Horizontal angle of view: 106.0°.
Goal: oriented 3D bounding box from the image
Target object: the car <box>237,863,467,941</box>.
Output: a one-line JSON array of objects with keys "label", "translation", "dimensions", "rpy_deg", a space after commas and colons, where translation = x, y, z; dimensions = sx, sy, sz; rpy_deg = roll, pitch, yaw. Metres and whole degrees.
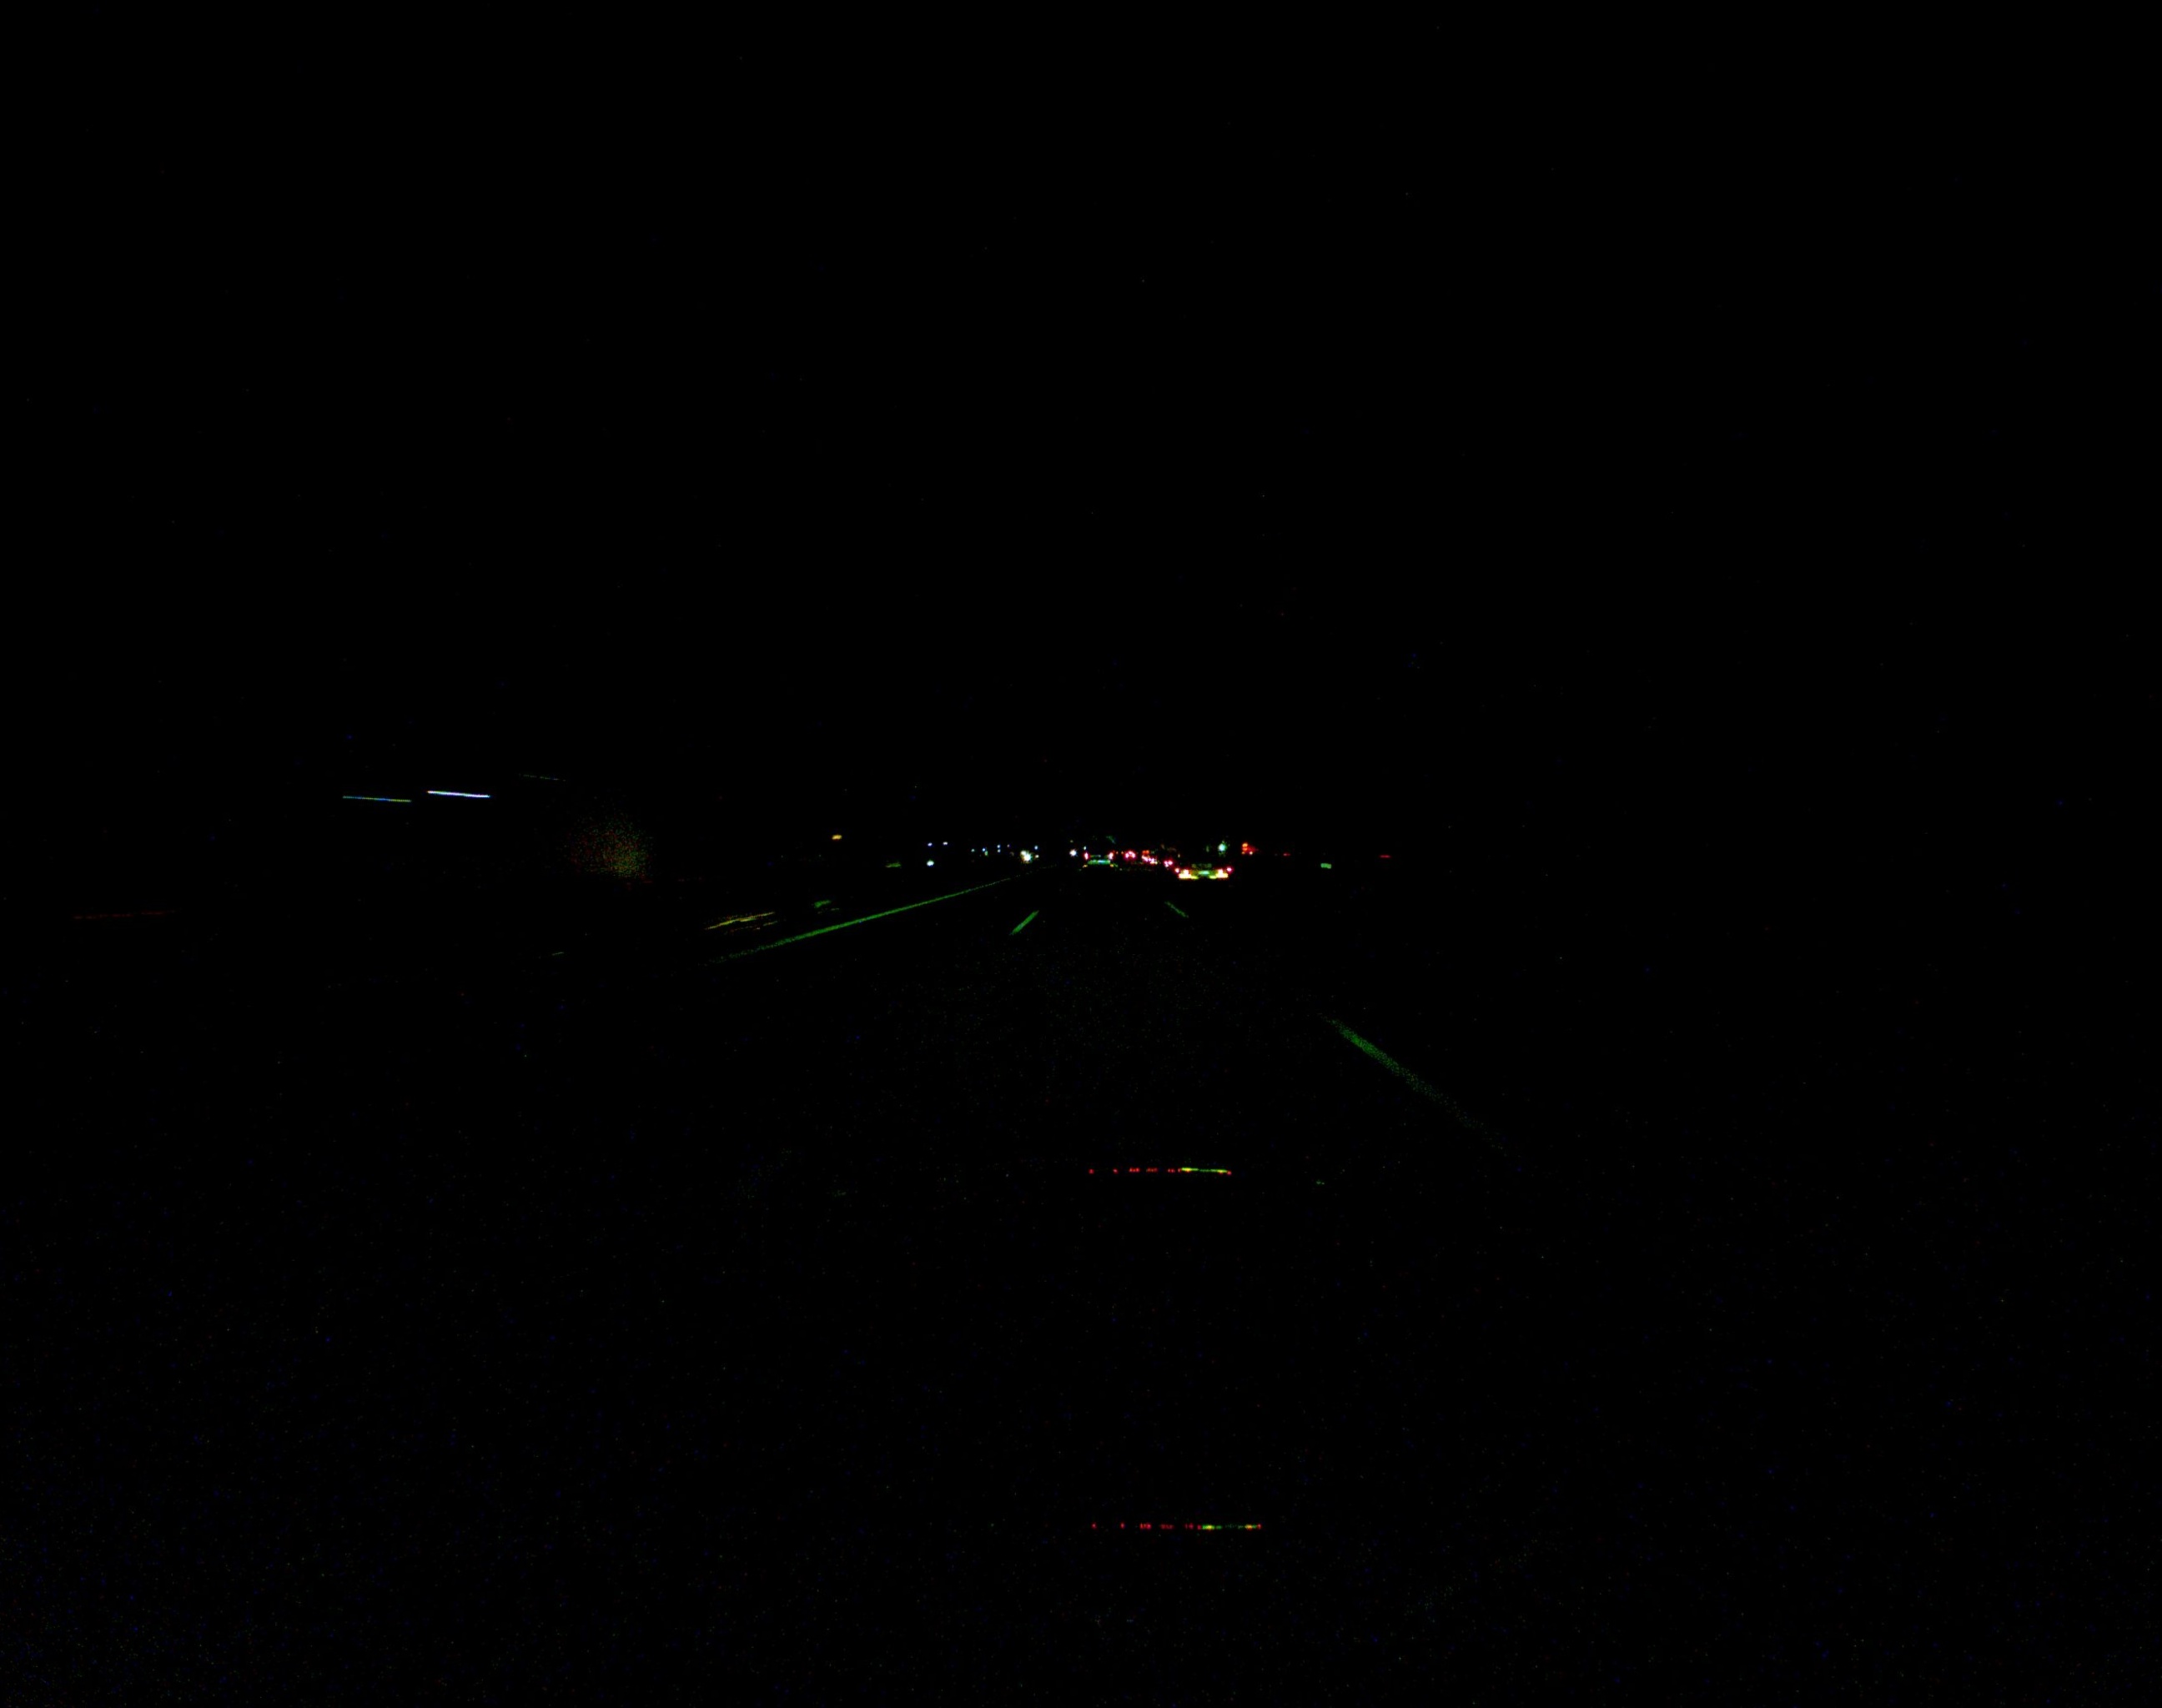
[{"label": "car", "translation": [-18.926, 1.175, 21.499], "dimensions": [1.987, 1.823, 4.499], "rpy_deg": [0, -1, 0]}]

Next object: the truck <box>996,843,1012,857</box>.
[{"label": "truck", "translation": [-19.169, -0.983, 203.351], "dimensions": [3.157, 3.222, 7.451], "rpy_deg": [0, -1, 2]}]

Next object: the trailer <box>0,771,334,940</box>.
[{"label": "trailer", "translation": [-23.411, 0.055, 17.023], "dimensions": [2.949, 3.442, 13.440], "rpy_deg": [-1, 0, 1]}]

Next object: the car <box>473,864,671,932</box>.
[{"label": "car", "translation": [-11.416, 0.928, 18.649], "dimensions": [1.987, 1.359, 3.999], "rpy_deg": [0, -1, 0]}]

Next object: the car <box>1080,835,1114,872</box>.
[{"label": "car", "translation": [1.158, 0.004, 61.687], "dimensions": [2.330, 2.640, 5.244], "rpy_deg": [-2, -1, -1]}]

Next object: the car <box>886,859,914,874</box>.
[{"label": "car", "translation": [-21.037, 1.448, 94.963], "dimensions": [1.987, 1.684, 5.324], "rpy_deg": [0, -1, 1]}]

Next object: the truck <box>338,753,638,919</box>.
[{"label": "truck", "translation": [-15.031, -0.352, 21.525], "dimensions": [2.864, 3.674, 6.780], "rpy_deg": [0, -1, 1]}]

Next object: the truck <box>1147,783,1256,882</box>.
[{"label": "truck", "translation": [6.516, -1.029, 48.739], "dimensions": [3.901, 4.627, 21.025], "rpy_deg": [0, 0, 1]}]

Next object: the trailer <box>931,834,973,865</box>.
[{"label": "trailer", "translation": [-17.234, -0.449, 110.196], "dimensions": [2.875, 3.849, 15.071], "rpy_deg": [0, -1, 1]}]

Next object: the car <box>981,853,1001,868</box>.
[{"label": "car", "translation": [-12.929, 0.952, 117.262], "dimensions": [1.986, 2.014, 5.327], "rpy_deg": [0, -1, 2]}]

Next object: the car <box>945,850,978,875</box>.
[{"label": "car", "translation": [-10.083, 0.698, 68.839], "dimensions": [1.987, 2.014, 5.323], "rpy_deg": [0, -1, 0]}]

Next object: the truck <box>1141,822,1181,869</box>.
[{"label": "truck", "translation": [8.359, -0.898, 86.880], "dimensions": [3.331, 4.476, 13.916], "rpy_deg": [-1, 0, 2]}]

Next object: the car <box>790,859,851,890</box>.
[{"label": "car", "translation": [-14.642, 1.129, 45.977], "dimensions": [1.987, 1.686, 4.506], "rpy_deg": [0, -1, 0]}]

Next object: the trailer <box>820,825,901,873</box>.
[{"label": "trailer", "translation": [-18.219, -0.293, 68.462], "dimensions": [2.875, 3.671, 13.051], "rpy_deg": [0, -1, 1]}]

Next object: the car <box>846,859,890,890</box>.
[{"label": "car", "translation": [-14.647, 1.393, 56.261], "dimensions": [1.987, 2.014, 4.000], "rpy_deg": [0, -1, 0]}]

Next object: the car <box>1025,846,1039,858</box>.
[{"label": "car", "translation": [-8.466, -0.407, 141.012], "dimensions": [1.987, 2.014, 4.000], "rpy_deg": [0, -1, 1]}]

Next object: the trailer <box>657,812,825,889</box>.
[{"label": "trailer", "translation": [-18.770, -0.226, 46.854], "dimensions": [2.875, 3.671, 15.243], "rpy_deg": [-1, 0, 1]}]

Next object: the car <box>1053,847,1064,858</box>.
[{"label": "car", "translation": [-4.244, -0.188, 153.239], "dimensions": [1.987, 2.014, 3.999], "rpy_deg": [0, -1, 0]}]

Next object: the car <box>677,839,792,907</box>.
[{"label": "car", "translation": [-10.972, 0.592, 26.117], "dimensions": [1.987, 2.014, 3.998], "rpy_deg": [0, -1, -1]}]

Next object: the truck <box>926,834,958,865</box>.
[{"label": "truck", "translation": [-17.480, -0.491, 102.869], "dimensions": [2.849, 3.687, 6.604], "rpy_deg": [0, -1, 1]}]

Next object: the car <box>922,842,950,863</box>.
[{"label": "car", "translation": [-14.476, -0.152, 81.310], "dimensions": [1.986, 2.014, 4.001], "rpy_deg": [0, -1, 1]}]

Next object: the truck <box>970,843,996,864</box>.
[{"label": "truck", "translation": [-19.323, 0.053, 161.519], "dimensions": [2.875, 3.849, 15.071], "rpy_deg": [0, -1, 1]}]

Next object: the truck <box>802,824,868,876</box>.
[{"label": "truck", "translation": [-18.349, -0.299, 61.153], "dimensions": [2.863, 3.673, 6.053], "rpy_deg": [-1, 0, 2]}]

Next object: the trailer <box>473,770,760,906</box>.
[{"label": "trailer", "translation": [-15.014, -0.363, 28.225], "dimensions": [2.876, 3.671, 12.215], "rpy_deg": [0, -1, 0]}]

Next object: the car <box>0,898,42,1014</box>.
[{"label": "car", "translation": [-14.881, 1.301, 8.591], "dimensions": [1.722, 1.486, 4.649], "rpy_deg": [0, -1, 3]}]

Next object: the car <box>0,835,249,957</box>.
[{"label": "car", "translation": [-18.869, 0.723, 14.836], "dimensions": [1.987, 2.014, 5.242], "rpy_deg": [0, -1, 0]}]
